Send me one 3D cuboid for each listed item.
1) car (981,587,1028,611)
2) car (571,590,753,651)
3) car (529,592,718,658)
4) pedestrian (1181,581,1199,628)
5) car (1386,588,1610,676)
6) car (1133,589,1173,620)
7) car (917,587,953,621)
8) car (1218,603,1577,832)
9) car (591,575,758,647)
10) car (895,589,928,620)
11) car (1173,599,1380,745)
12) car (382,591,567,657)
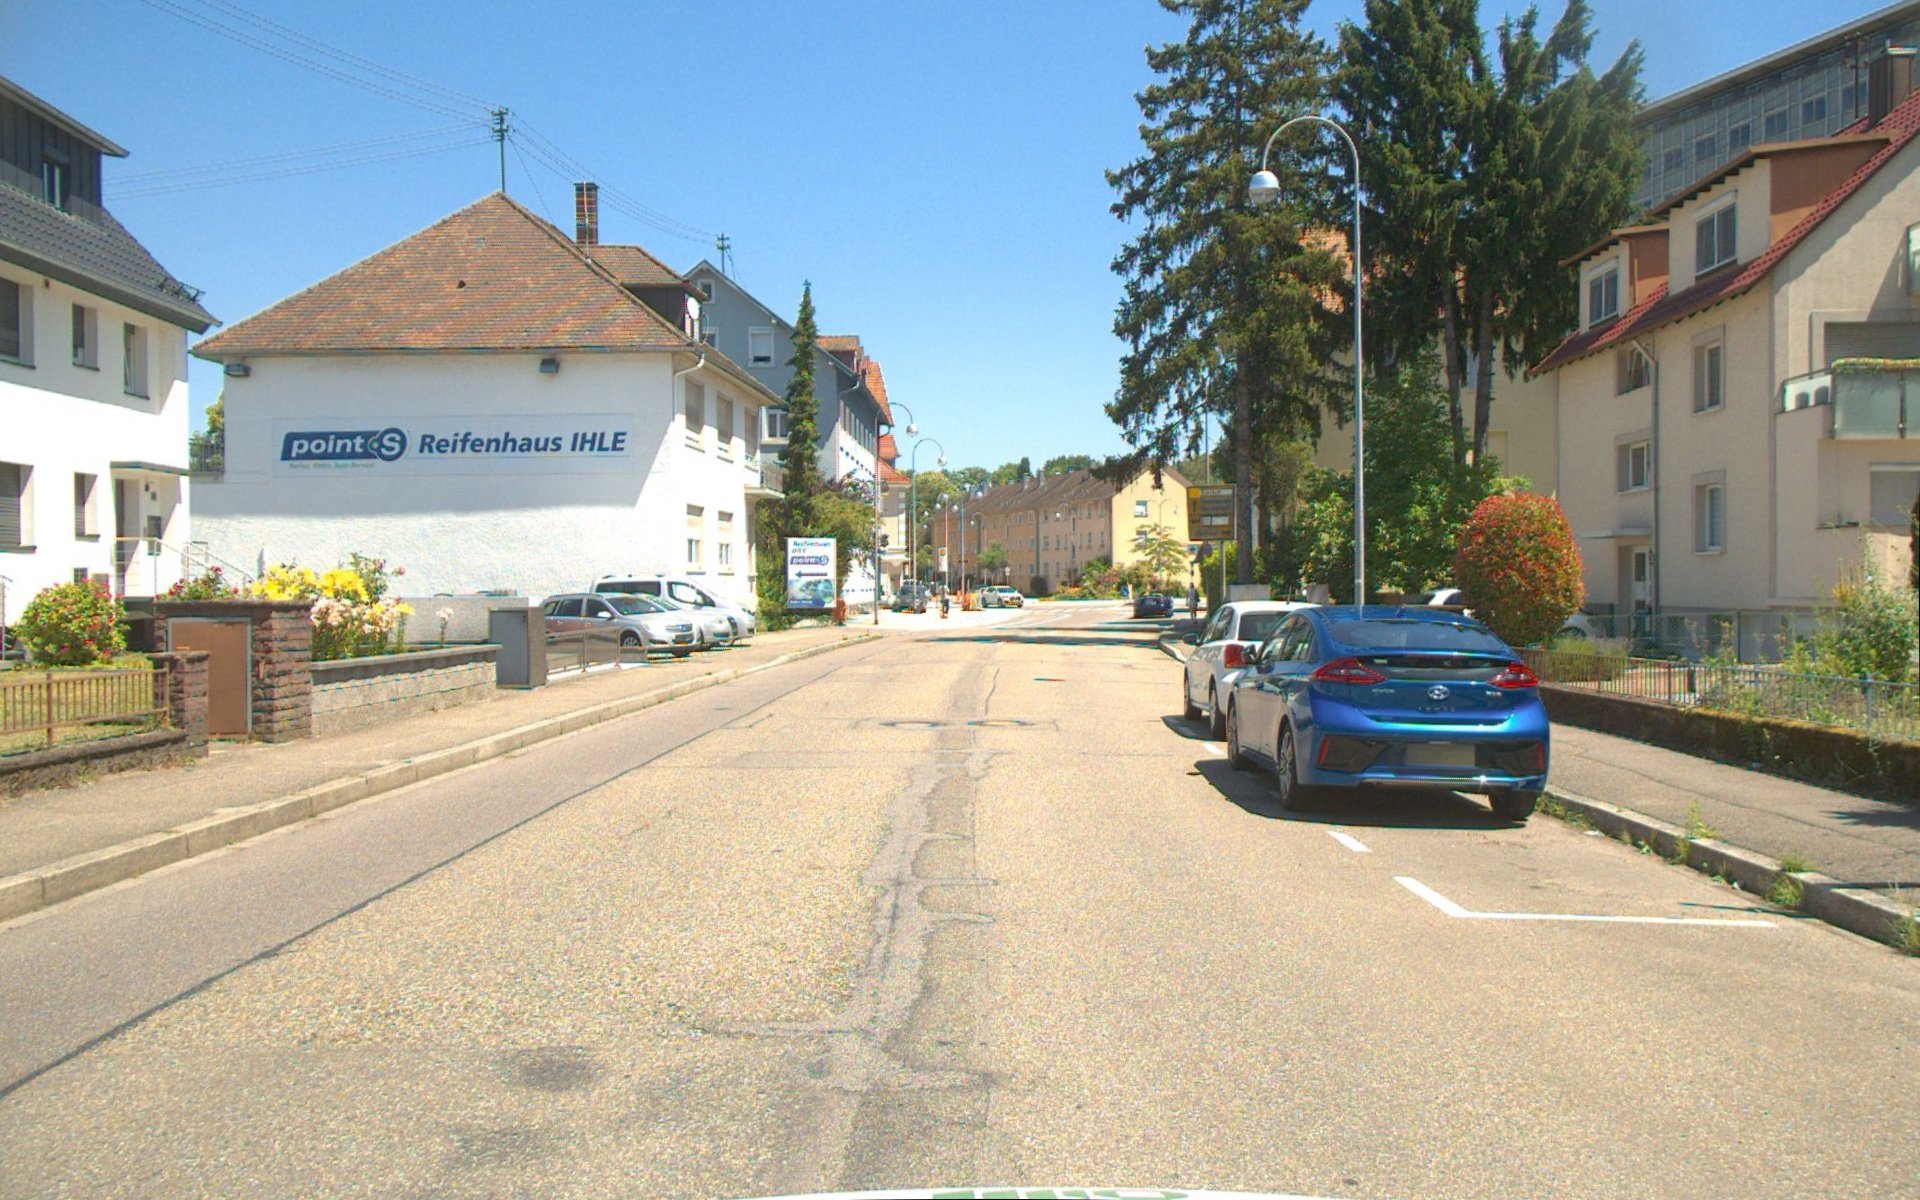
[{"bbox_3d":[3.209,-0.092,119.638,1.583,1.634,3.365,2,0,-37],"label":"car"},{"bbox_3d":[-7.158,0.479,40.010,4.044,1.419,1.828,0,0,0],"label":"car"},{"bbox_3d":[-7.558,0.522,37.019,4.058,1.367,1.905,1,0,35],"label":"car"},{"bbox_3d":[9.111,0.178,65.404,0.674,1.801,0.692,1,-2,8],"label":"pedestrian"},{"bbox_3d":[10.751,0.625,33.269,3.905,1.639,1.833,1,0,1],"label":"car"},{"bbox_3d":[9.764,0.220,83.488,1.756,1.536,4.004,1,0,11],"label":"car"},{"bbox_3d":[-1.255,0.204,85.091,1.721,1.685,4.000,0,0,1],"label":"car"},{"bbox_3d":[3.222,0.778,13.071,1.741,1.430,4.287,2,0,1],"label":"car"},{"bbox_3d":[-7.305,0.270,42.613,4.046,1.805,1.827,0,0,-3],"label":"car"},{"bbox_3d":[-2.711,0.238,93.102,1.721,1.685,4.000,0,0,1],"label":"car"},{"bbox_3d":[3.576,0.755,19.330,1.689,1.444,4.014,2,0,1],"label":"car"},{"bbox_3d":[-10.780,0.504,36.644,4.058,1.367,1.828,1,0,35],"label":"car"}]
